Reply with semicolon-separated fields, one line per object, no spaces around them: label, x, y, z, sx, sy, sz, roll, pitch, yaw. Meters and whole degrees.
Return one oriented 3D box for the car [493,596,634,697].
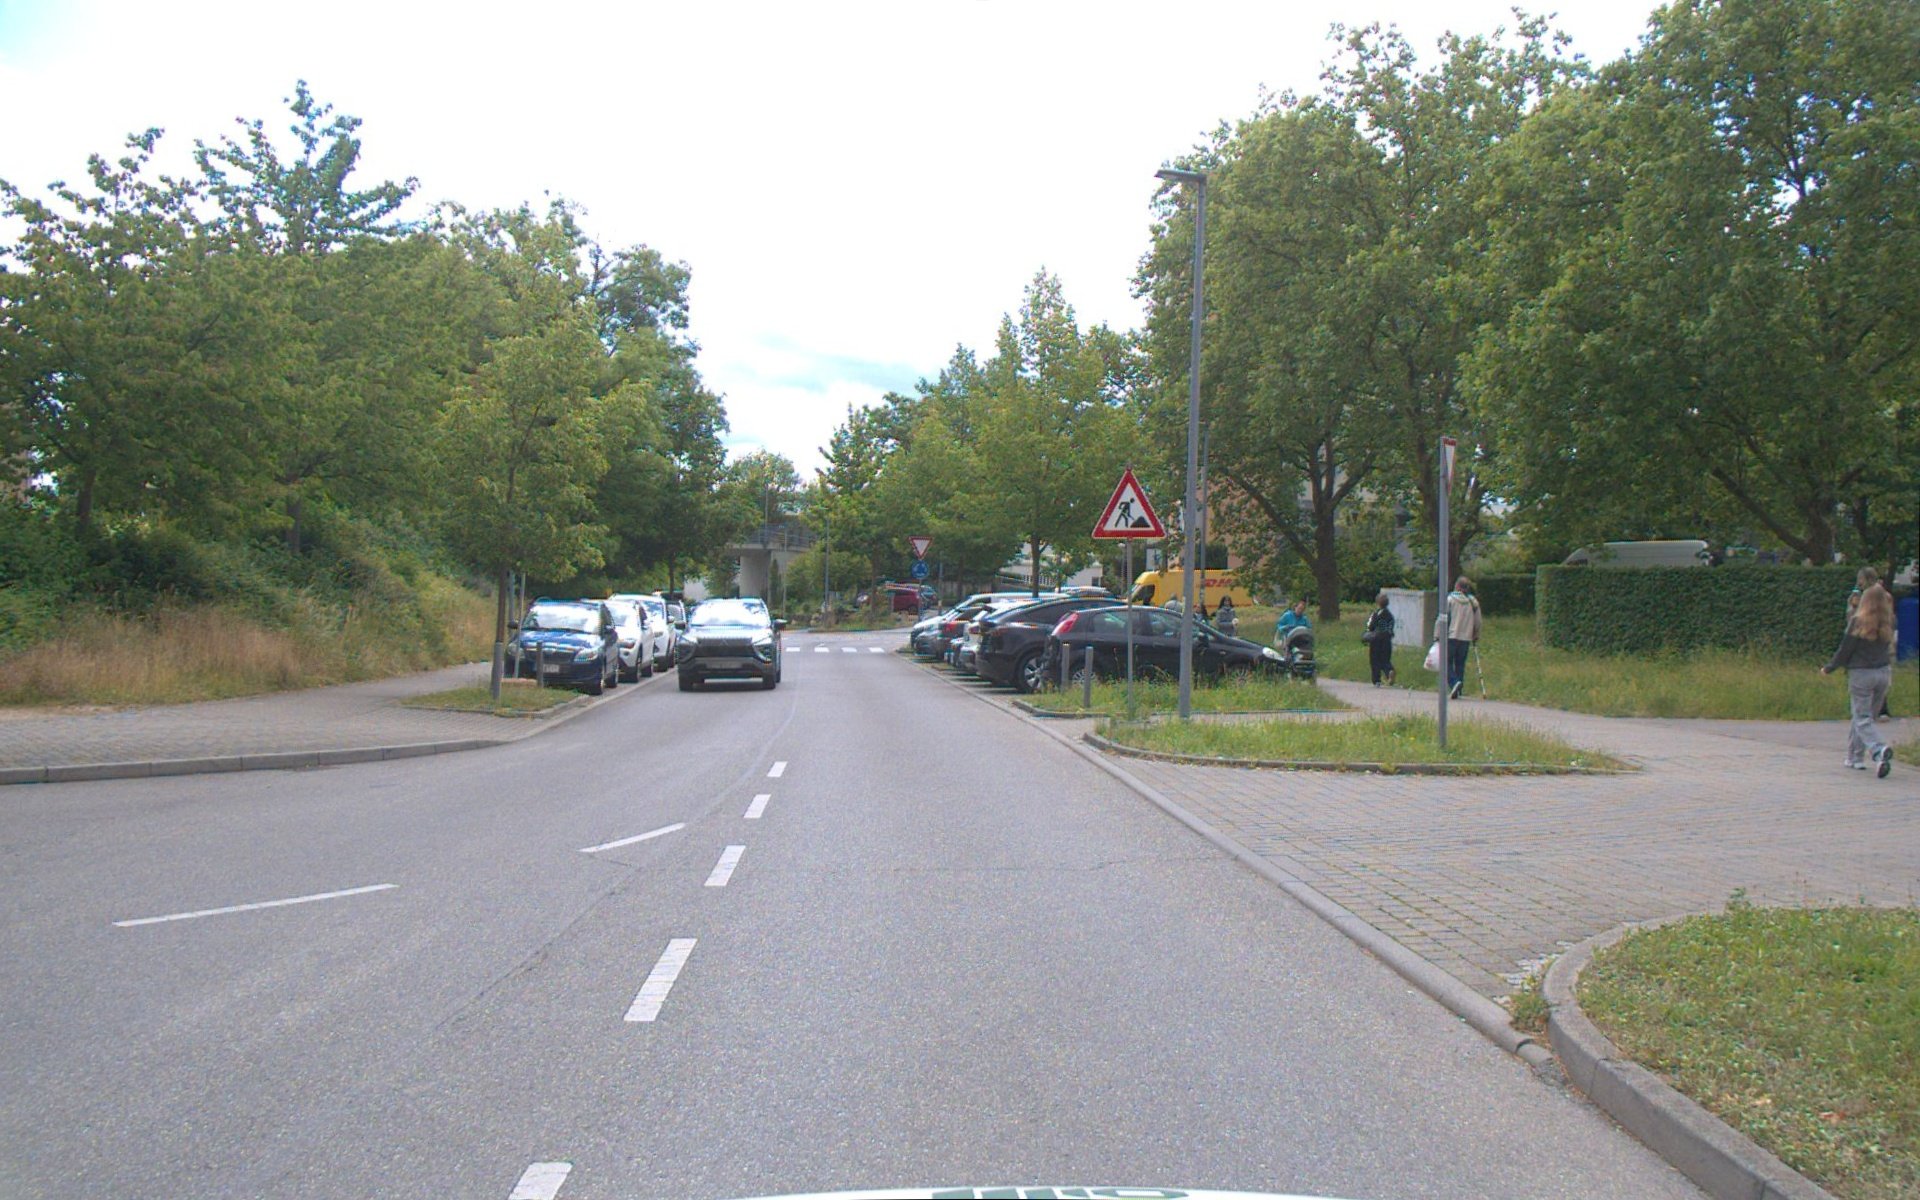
car;-6.715;0.741;28.390;1.657;1.513;3.950;4;0;-4

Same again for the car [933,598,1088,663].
car;1.264;0.760;42.312;3.750;1.546;1.910;-1;0;-5

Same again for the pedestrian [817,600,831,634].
pedestrian;-7.060;0.898;85.944;0.644;1.752;0.739;1;0;0

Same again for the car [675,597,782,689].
car;-4.436;0.761;31.417;1.861;1.610;4.159;1;0;-9

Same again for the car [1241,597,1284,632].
car;15.284;0.701;83.611;1.535;1.688;3.778;-1;0;2

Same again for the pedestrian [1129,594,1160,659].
pedestrian;4.813;0.687;43.126;0.675;1.686;0.599;1;0;-6

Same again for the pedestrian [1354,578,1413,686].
pedestrian;7.289;0.542;28.494;0.725;1.824;0.877;1;0;-5

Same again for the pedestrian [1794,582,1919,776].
pedestrian;7.953;0.674;14.561;0.674;1.649;0.930;1;0;-7

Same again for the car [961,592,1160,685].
car;1.853;0.703;31.310;3.597;1.675;1.850;0;0;-3

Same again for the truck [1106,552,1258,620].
truck;10.497;-0.640;78.646;6.670;2.750;2.471;-2;-5;-5

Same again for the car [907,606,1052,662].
car;0.496;0.899;44.835;3.750;1.395;1.841;-1;0;-5

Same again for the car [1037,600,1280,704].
car;3.099;0.798;26.247;3.597;1.524;1.644;1;1;-3

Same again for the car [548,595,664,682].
car;-7.073;0.715;33.405;1.657;1.537;4.226;4;0;-5

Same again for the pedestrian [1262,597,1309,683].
pedestrian;5.752;0.697;29.246;0.606;1.494;0.735;1;0;-5

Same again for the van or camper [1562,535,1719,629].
van or camper;21.373;-0.581;51.947;4.378;2.847;2.113;1;0;26

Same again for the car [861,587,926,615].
car;-3.780;0.054;94.405;3.575;1.464;1.684;1;0;0

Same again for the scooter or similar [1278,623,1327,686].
scooter or similar;5.870;0.928;28.372;0.568;1.041;0.943;1;0;-4

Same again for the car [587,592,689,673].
car;-7.526;0.711;39.033;1.772;1.693;4.432;4;0;-5

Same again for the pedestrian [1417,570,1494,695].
pedestrian;7.417;0.483;24.791;0.814;1.824;0.877;1;0;-5

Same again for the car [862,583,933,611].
car;-3.947;-0.189;104.599;4.452;1.697;1.944;1;0;-2

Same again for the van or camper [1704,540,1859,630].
van or camper;27.029;-0.502;54.431;4.385;2.847;2.110;1;0;32

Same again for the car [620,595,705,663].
car;-8.026;0.747;44.936;1.764;1.643;4.474;4;0;-5

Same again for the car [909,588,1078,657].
car;0.935;0.638;47.862;4.681;1.863;1.840;-1;0;-6

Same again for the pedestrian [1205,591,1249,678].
pedestrian;5.712;0.729;35.470;0.725;1.824;0.877;1;0;-5

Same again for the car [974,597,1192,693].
car;2.085;0.764;28.612;3.597;1.602;1.592;0;0;-3

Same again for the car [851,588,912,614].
car;-4.714;0.059;99.655;3.575;1.524;1.684;1;0;0

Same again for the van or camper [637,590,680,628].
van or camper;-21.732;0.642;119.131;1.966;2.567;5.434;-2;-1;-22

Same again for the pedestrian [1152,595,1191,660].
pedestrian;5.521;0.712;43.196;0.852;1.686;0.592;1;0;-6

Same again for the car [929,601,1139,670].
car;1.649;0.790;37.750;4.491;1.518;1.947;0;-1;-10

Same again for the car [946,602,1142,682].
car;1.718;0.854;34.156;3.904;1.546;1.884;1;-1;1

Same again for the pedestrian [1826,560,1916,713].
pedestrian;10.565;0.414;19.201;0.640;1.741;0.706;1;0;1
